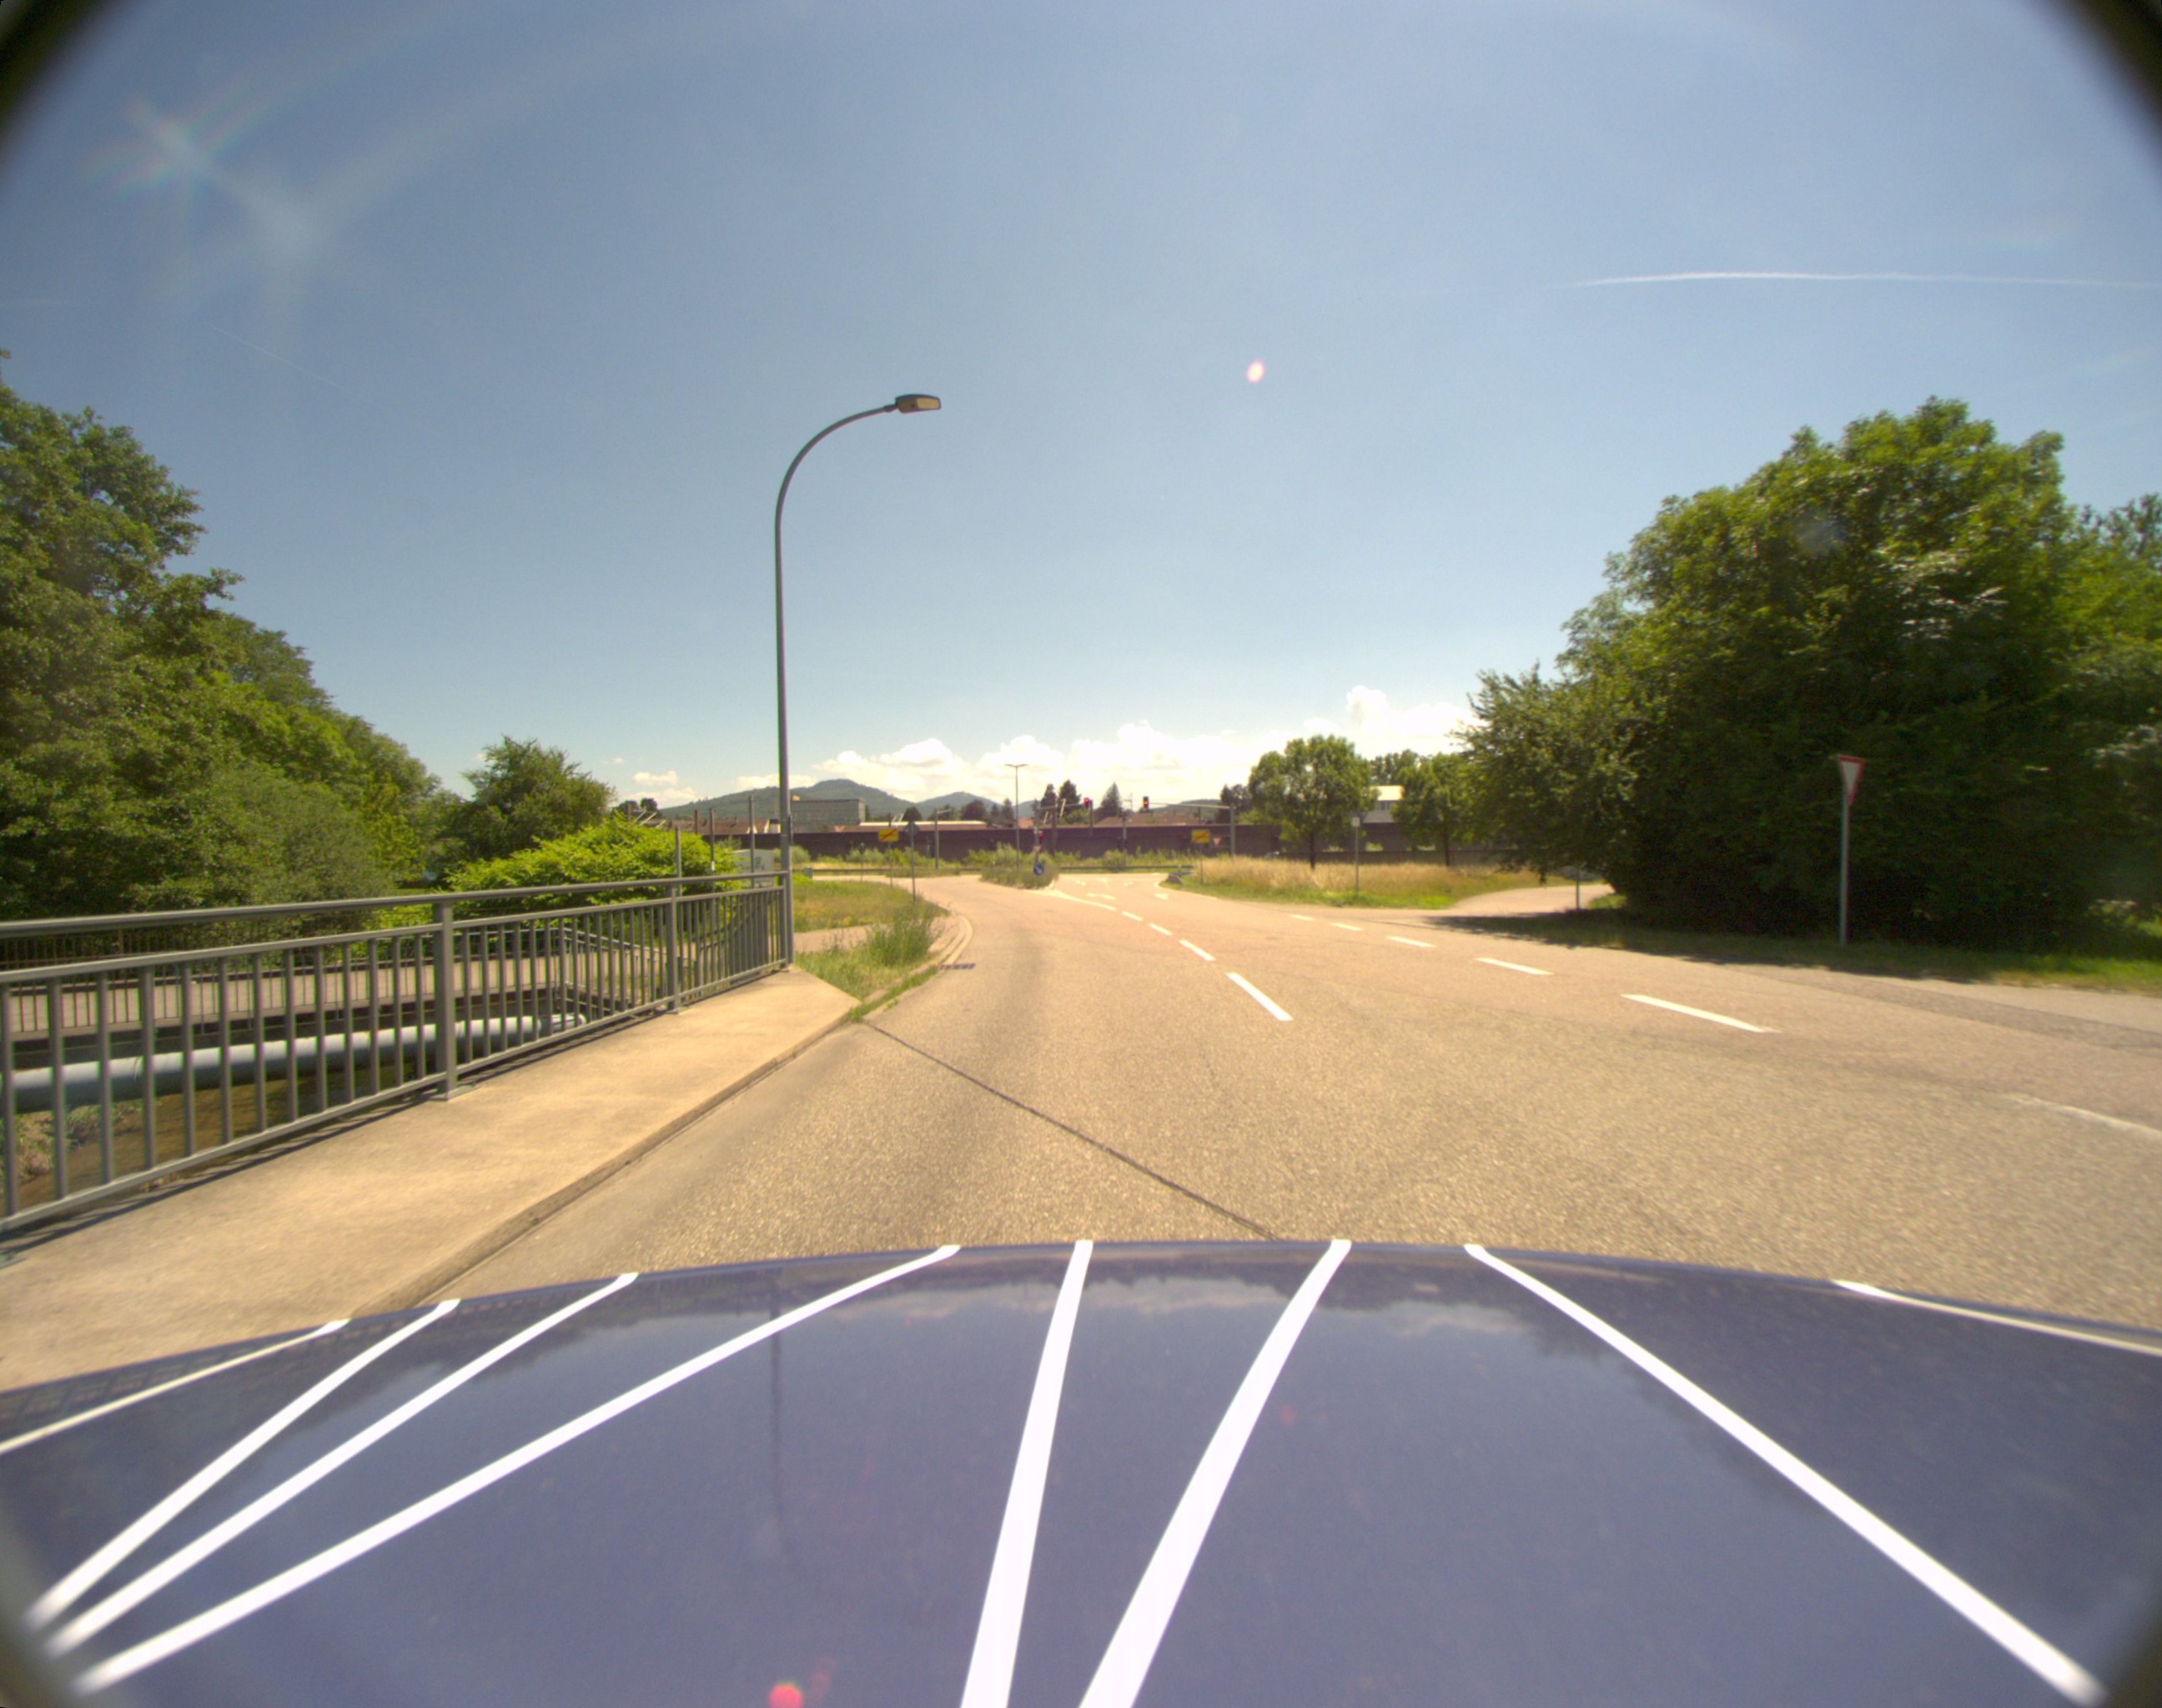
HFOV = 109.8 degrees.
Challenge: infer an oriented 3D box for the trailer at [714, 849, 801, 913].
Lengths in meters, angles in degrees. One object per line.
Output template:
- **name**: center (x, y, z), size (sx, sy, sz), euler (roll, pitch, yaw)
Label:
- **trailer**: center (-11.657, 0.892, 27.275), size (1.855, 2.066, 3.958), euler (-3, 2, -38)

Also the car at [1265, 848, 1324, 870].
- **car**: center (18.145, 0.377, 64.683), size (4.480, 1.713, 1.999), euler (0, 3, 1)
